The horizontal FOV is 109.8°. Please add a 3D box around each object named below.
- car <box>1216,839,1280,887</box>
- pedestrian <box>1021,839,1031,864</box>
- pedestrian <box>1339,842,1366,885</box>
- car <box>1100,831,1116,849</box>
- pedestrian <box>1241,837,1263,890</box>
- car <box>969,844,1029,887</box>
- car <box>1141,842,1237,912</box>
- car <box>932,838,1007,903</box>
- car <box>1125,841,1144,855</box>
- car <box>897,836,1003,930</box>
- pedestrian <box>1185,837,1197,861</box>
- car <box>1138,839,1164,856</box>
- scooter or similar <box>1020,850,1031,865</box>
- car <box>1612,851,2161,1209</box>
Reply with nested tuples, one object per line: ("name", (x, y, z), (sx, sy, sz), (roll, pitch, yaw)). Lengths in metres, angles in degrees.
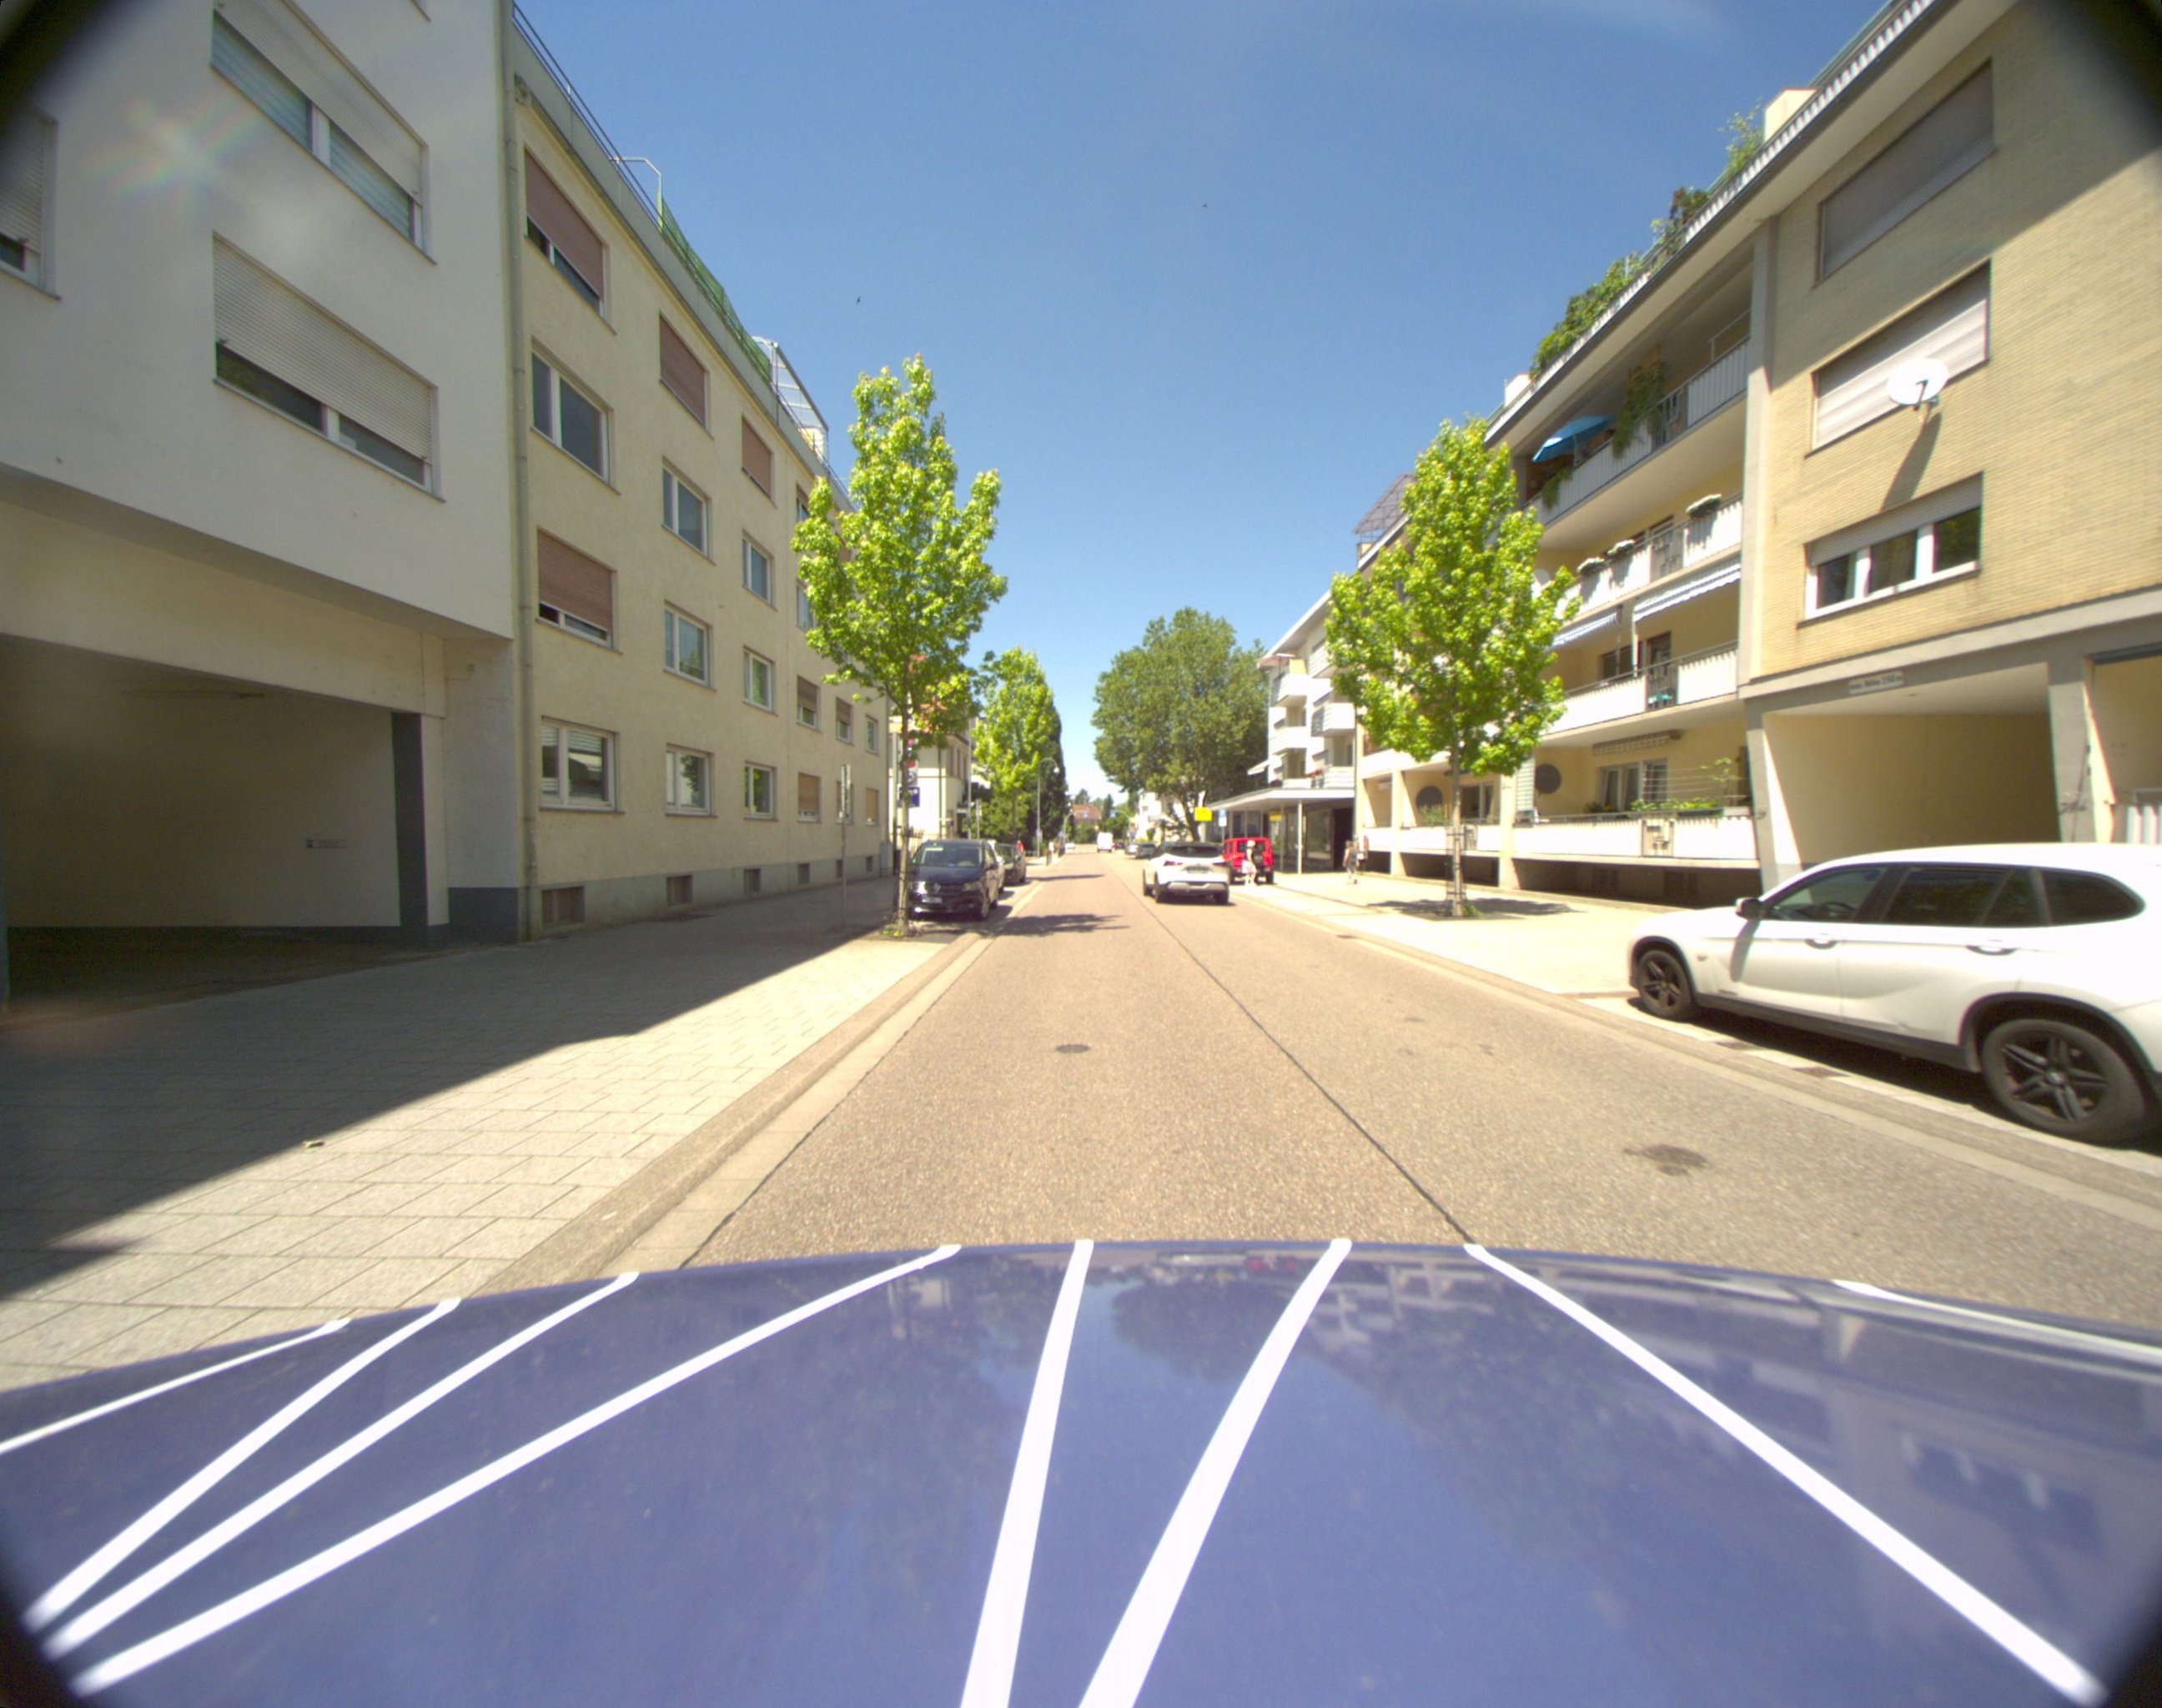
("car", (6.173, 0.295, 28.412), (1.644, 1.652, 3.370), (-2, 1, 1))
("pedestrian", (-3.479, -0.170, 48.261), (0.625, 1.597, 0.735), (0, 2, -2))
("pedestrian", (9.487, 0.331, 26.537), (0.778, 1.490, 0.698), (0, 1, 12))
("car", (3.742, -1.953, 106.339), (2.231, 2.452, 5.248), (0, 1, 1))
("pedestrian", (5.923, 0.325, 26.287), (0.667, 1.794, 0.686), (0, 1, 8))
("car", (-2.974, 0.360, 28.264), (1.692, 1.480, 4.133), (0, 1, 1))
("car", (2.799, 0.529, 20.657), (1.776, 1.623, 4.298), (3, 1, -2))
("car", (-3.099, 0.388, 21.914), (1.693, 1.712, 4.132), (0, 1, -2))
("car", (6.115, -0.720, 87.051), (1.998, 1.630, 3.999), (0, 1, 0))
("car", (-2.684, 0.522, 16.357), (1.693, 1.712, 3.998), (2, 1, -3))
("pedestrian", (8.225, -0.392, 56.803), (0.639, 1.782, 0.742), (-1, 2, -22))
("car", (6.103, -0.606, 66.943), (1.998, 1.499, 3.999), (0, 1, 1))
("scooter or similar", (-3.461, 0.211, 47.513), (0.625, 0.927, 0.735), (0, 1, -2))
("car", (5.902, 0.816, 5.131), (1.699, 1.583, 4.299), (-1, 1, 1))
